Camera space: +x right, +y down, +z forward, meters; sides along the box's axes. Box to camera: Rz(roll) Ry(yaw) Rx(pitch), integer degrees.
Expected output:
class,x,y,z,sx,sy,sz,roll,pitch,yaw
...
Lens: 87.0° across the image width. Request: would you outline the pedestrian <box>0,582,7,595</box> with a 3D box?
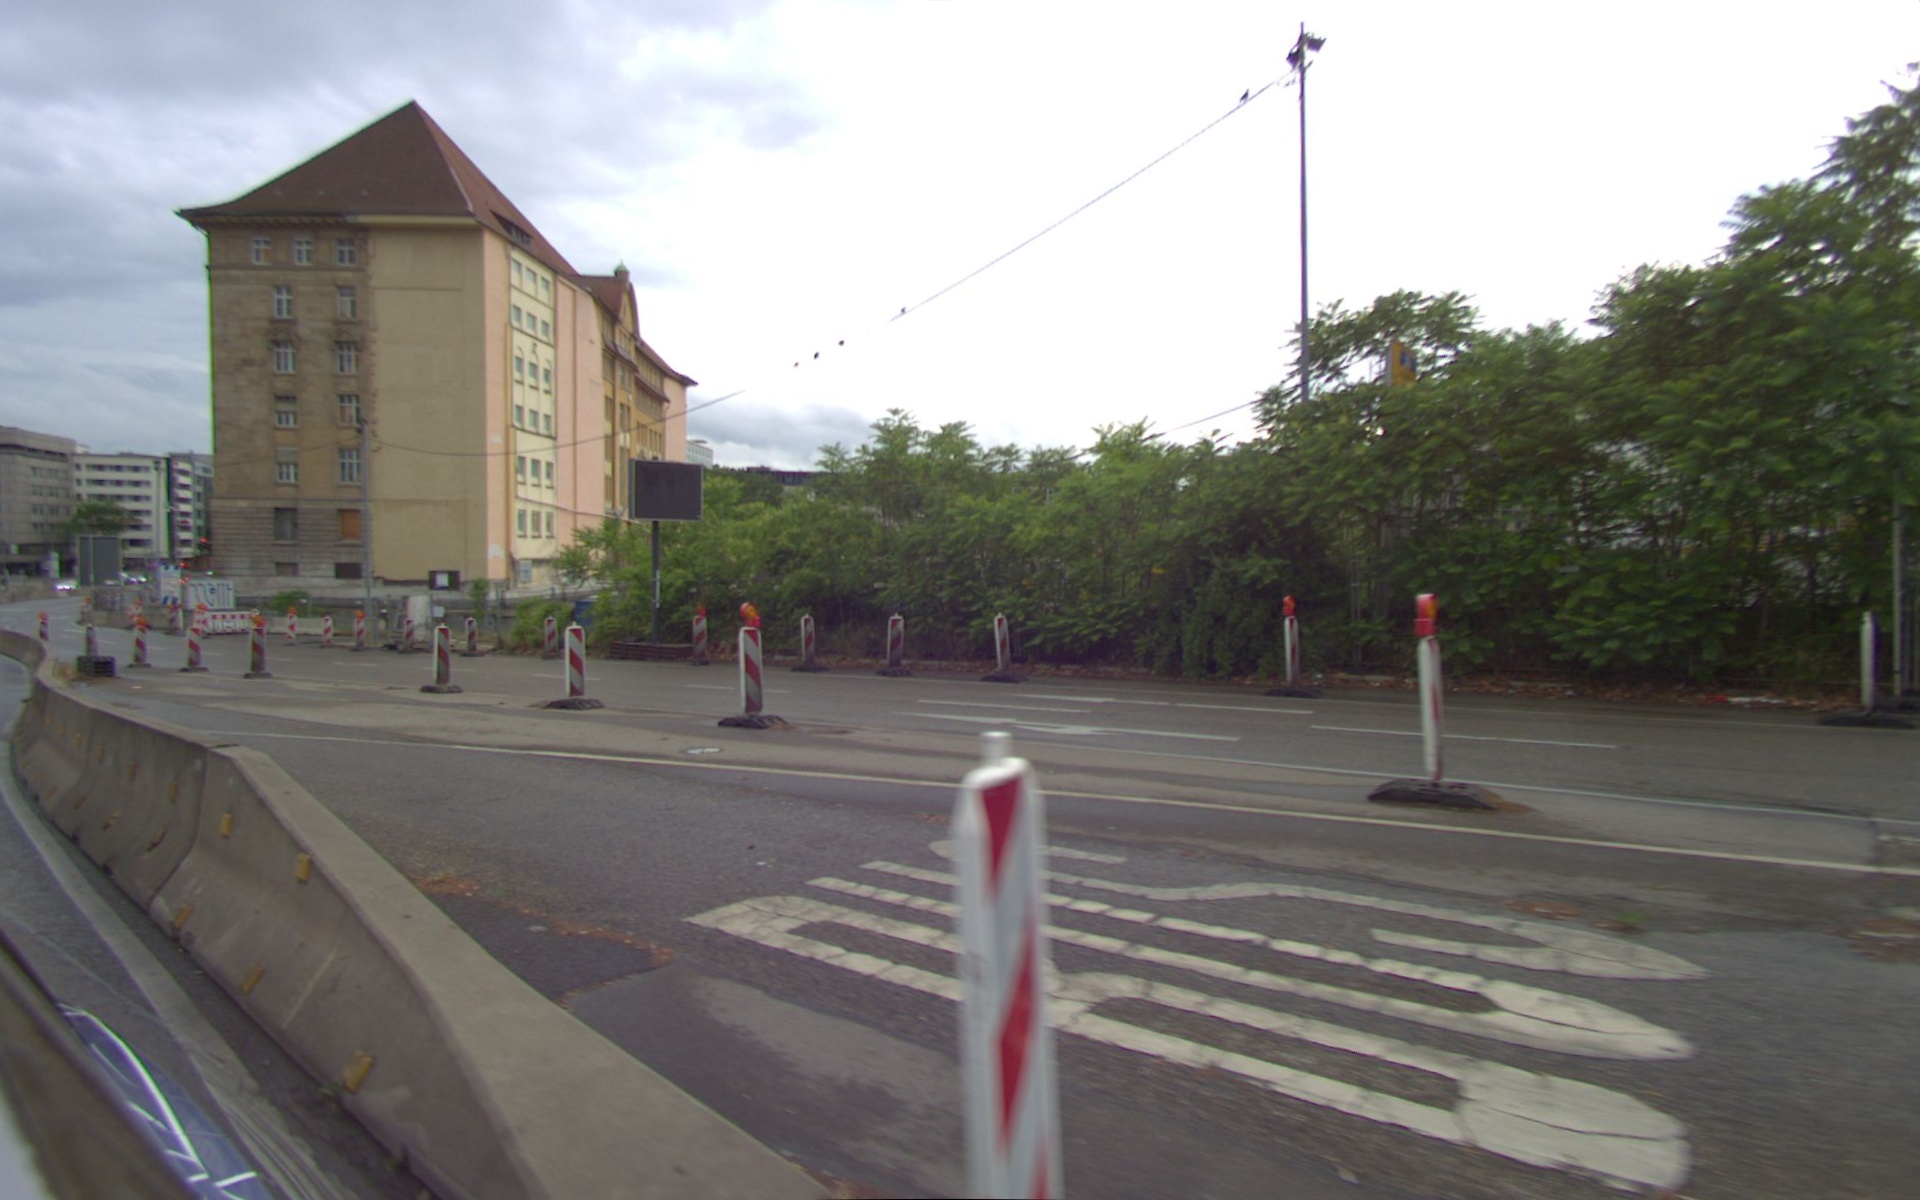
class,x,y,z,sx,sy,sz,roll,pitch,yaw
pedestrian,-131.663,-1.568,139.279,0.644,1.774,0.549,1,1,-40
